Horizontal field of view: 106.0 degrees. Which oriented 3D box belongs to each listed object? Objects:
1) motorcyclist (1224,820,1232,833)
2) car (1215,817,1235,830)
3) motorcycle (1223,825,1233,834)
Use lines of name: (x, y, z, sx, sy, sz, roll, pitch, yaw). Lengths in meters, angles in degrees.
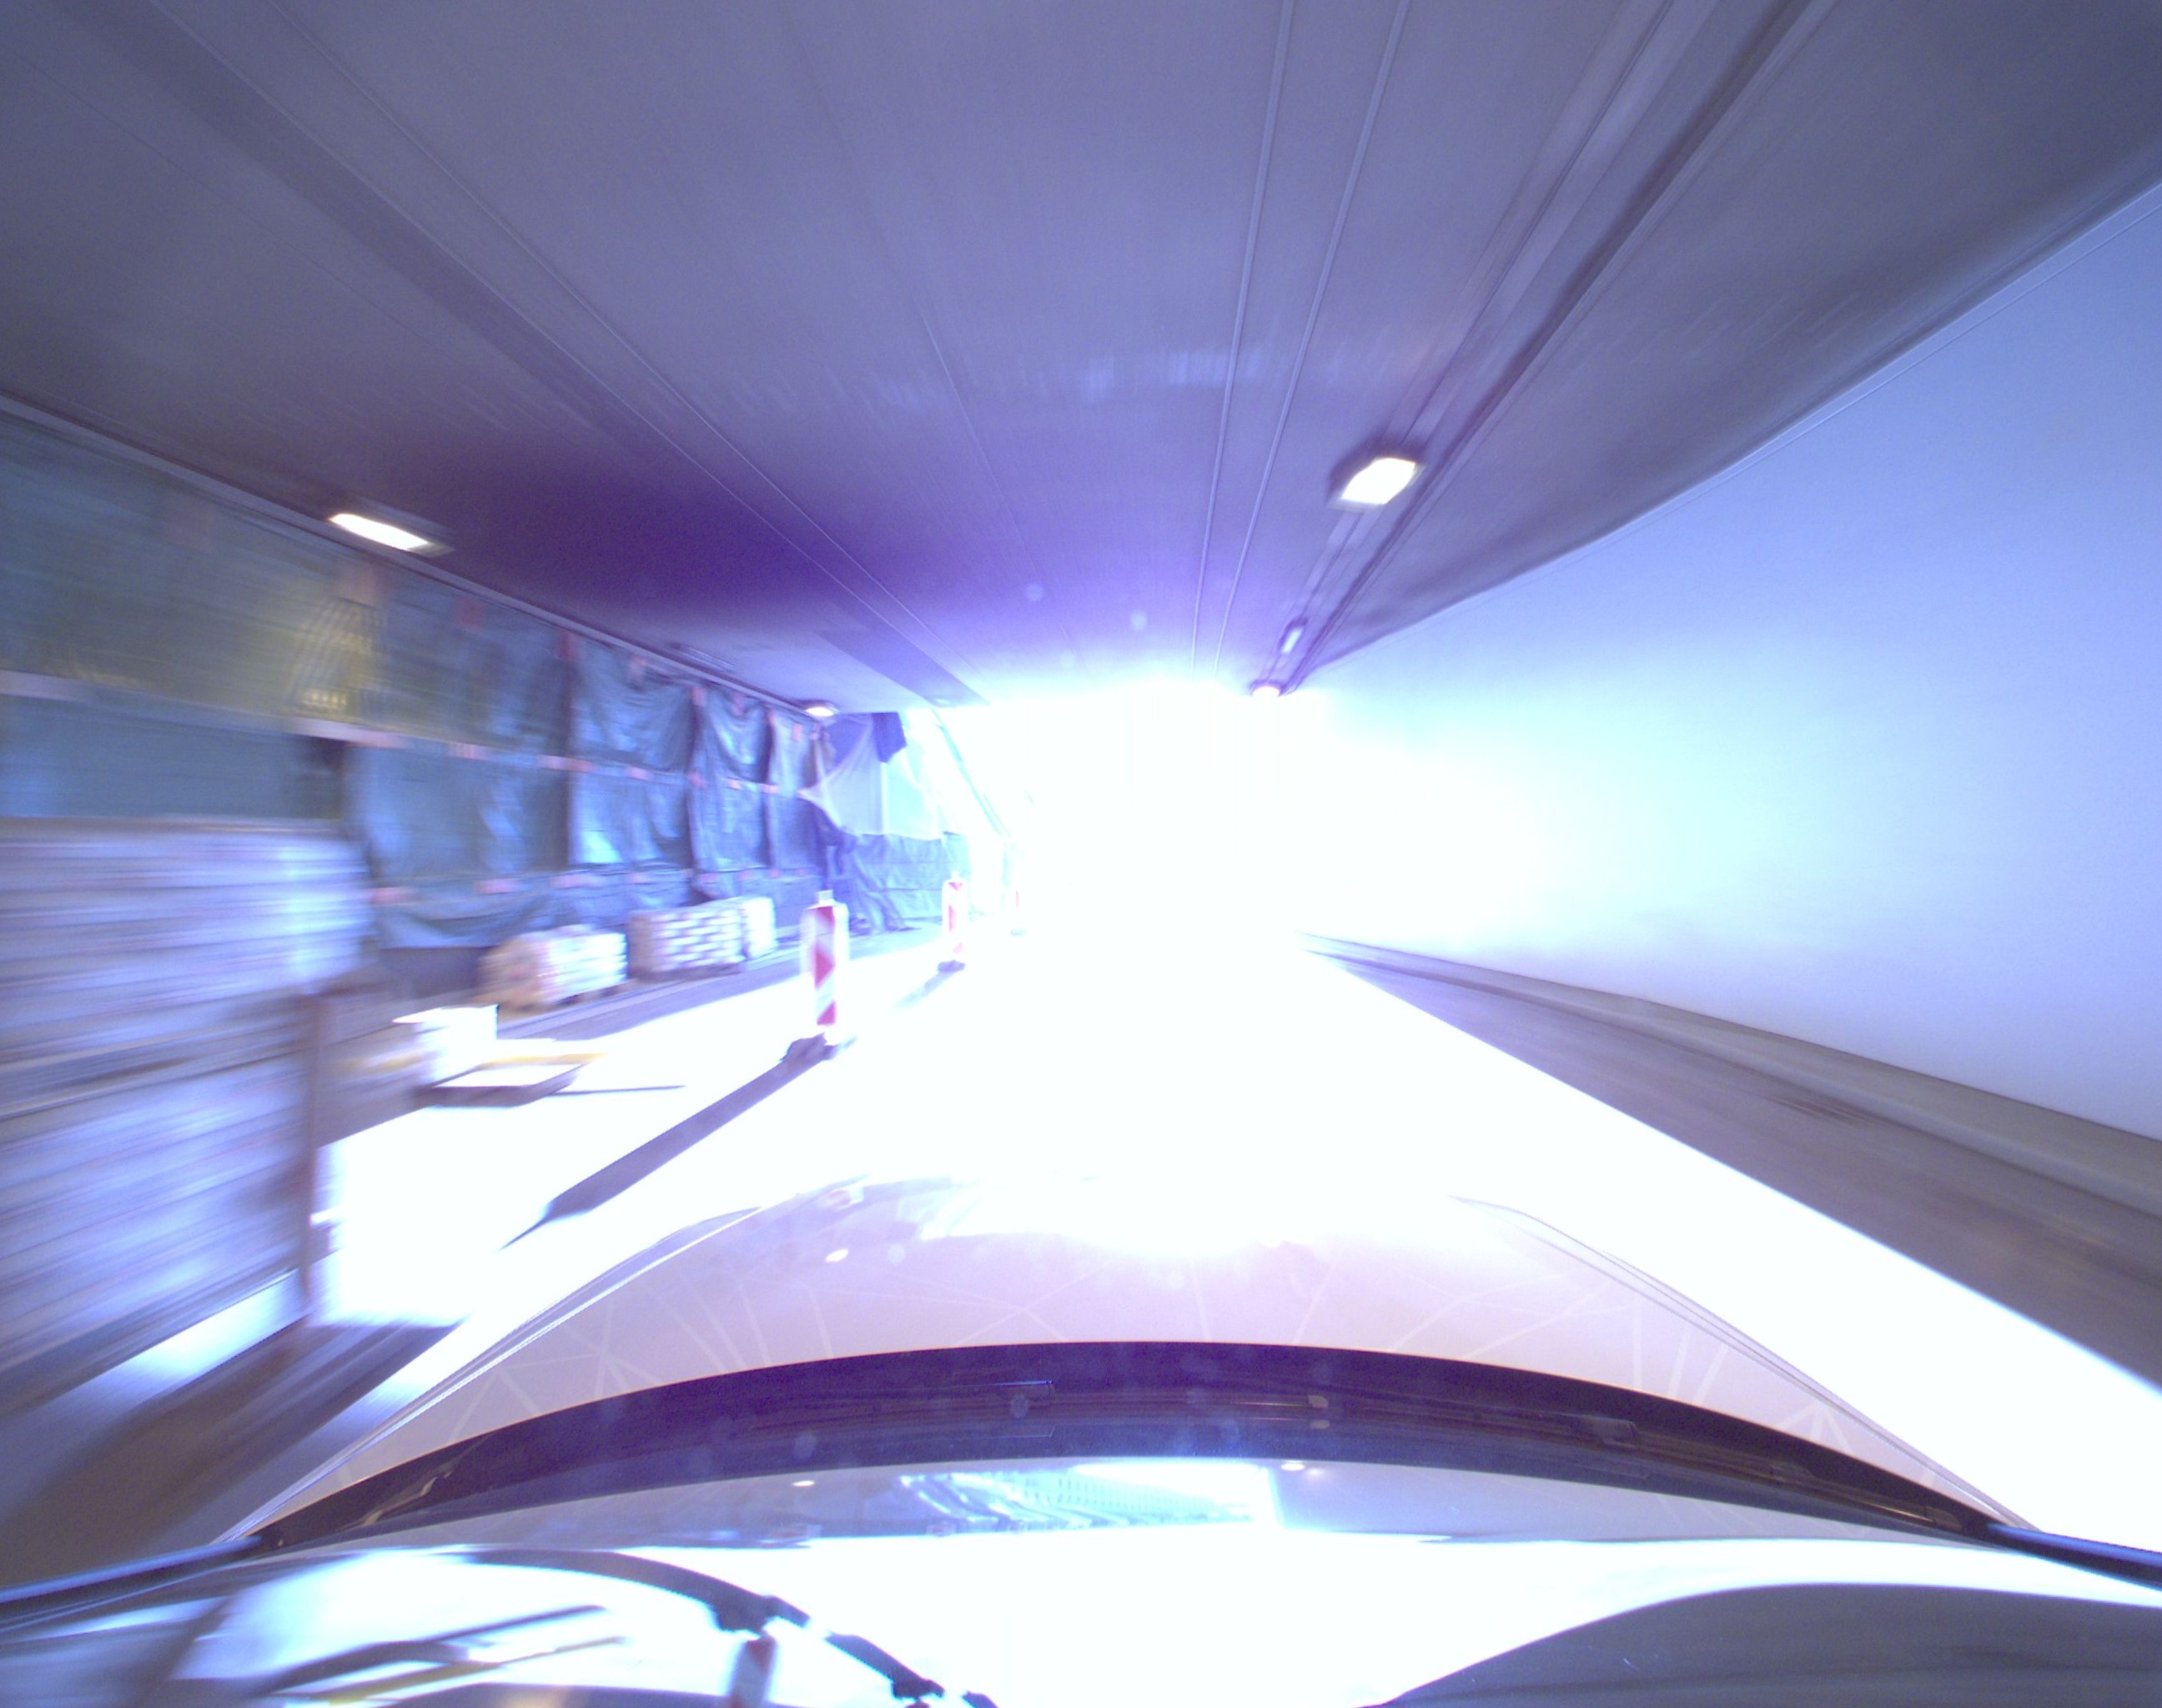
motorcyclist: (17.365, -3.225, 96.115, 0.797, 1.504, 0.780, -1, 1, 19)
car: (18.242, -3.825, 102.816, 1.761, 1.604, 4.021, 0, 2, 21)
motorcycle: (17.386, -2.928, 96.213, 0.765, 0.992, 2.194, -1, 1, 19)
